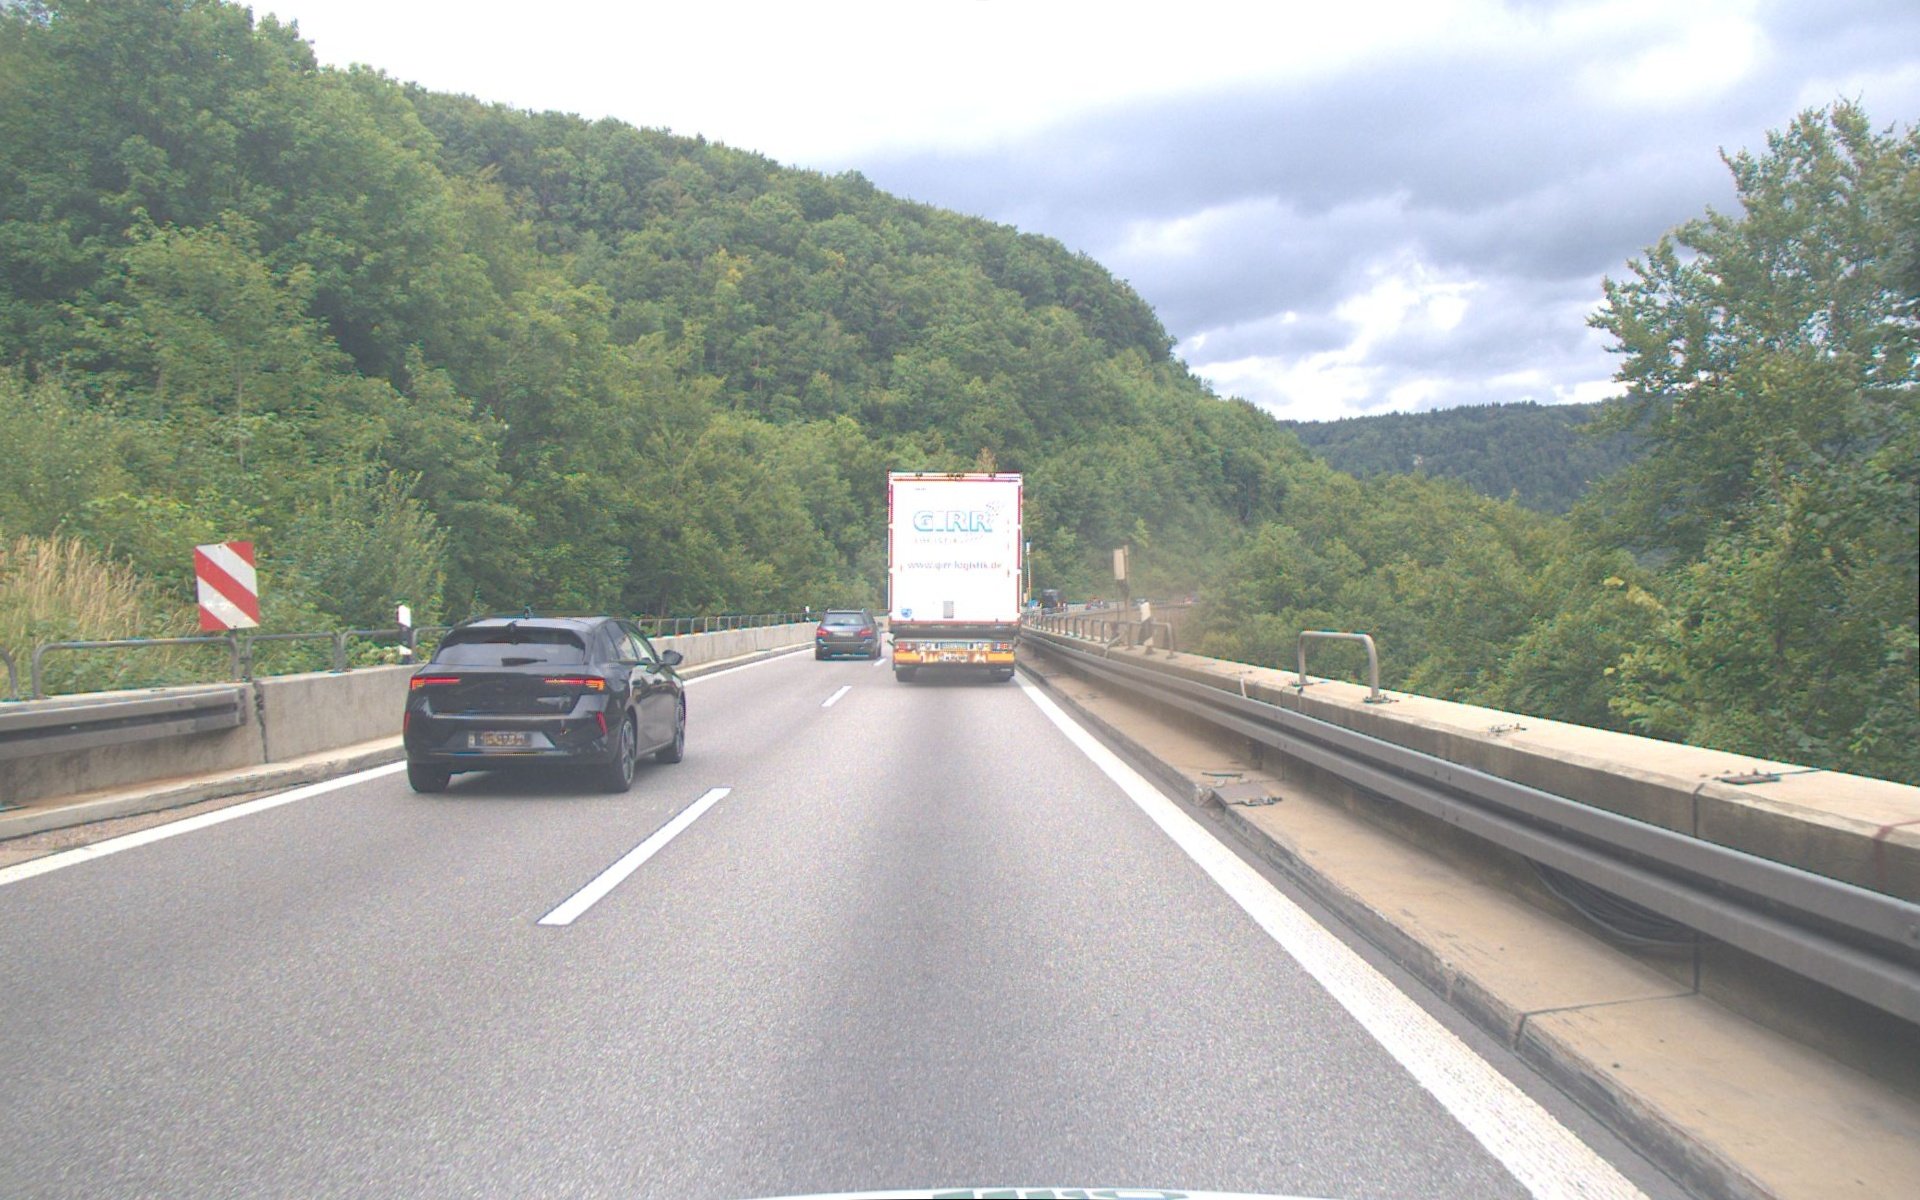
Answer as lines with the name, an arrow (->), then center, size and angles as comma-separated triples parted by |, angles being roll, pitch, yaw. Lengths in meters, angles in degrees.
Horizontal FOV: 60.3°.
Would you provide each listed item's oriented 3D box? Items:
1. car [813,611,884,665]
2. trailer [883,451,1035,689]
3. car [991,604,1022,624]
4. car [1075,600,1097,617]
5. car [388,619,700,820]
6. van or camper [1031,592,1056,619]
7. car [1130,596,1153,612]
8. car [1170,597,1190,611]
car -> -3.299, 1.123, 49.653 | 1.845, 1.536, 4.418 | -1, -1, 0
trailer -> -0.116, -0.466, 36.850 | 2.756, 4.378, 12.241 | -1, -1, -1
car -> 3.966, 1.169, 141.358 | 1.951, 1.646, 4.003 | -1, -1, 12
car -> 13.208, 0.901, 172.838 | 1.951, 1.713, 4.003 | -1, -1, 9
car -> -3.517, 0.931, 14.850 | 1.737, 1.486, 4.580 | 0, 0, -1
van or camper -> 8.267, 0.530, 164.215 | 1.951, 2.604, 4.003 | -1, -1, 11
car -> 21.944, 0.489, 200.008 | 1.952, 1.825, 4.001 | -1, -1, 18
car -> 30.416, 0.582, 228.645 | 1.952, 1.825, 4.001 | -1, -1, 19
